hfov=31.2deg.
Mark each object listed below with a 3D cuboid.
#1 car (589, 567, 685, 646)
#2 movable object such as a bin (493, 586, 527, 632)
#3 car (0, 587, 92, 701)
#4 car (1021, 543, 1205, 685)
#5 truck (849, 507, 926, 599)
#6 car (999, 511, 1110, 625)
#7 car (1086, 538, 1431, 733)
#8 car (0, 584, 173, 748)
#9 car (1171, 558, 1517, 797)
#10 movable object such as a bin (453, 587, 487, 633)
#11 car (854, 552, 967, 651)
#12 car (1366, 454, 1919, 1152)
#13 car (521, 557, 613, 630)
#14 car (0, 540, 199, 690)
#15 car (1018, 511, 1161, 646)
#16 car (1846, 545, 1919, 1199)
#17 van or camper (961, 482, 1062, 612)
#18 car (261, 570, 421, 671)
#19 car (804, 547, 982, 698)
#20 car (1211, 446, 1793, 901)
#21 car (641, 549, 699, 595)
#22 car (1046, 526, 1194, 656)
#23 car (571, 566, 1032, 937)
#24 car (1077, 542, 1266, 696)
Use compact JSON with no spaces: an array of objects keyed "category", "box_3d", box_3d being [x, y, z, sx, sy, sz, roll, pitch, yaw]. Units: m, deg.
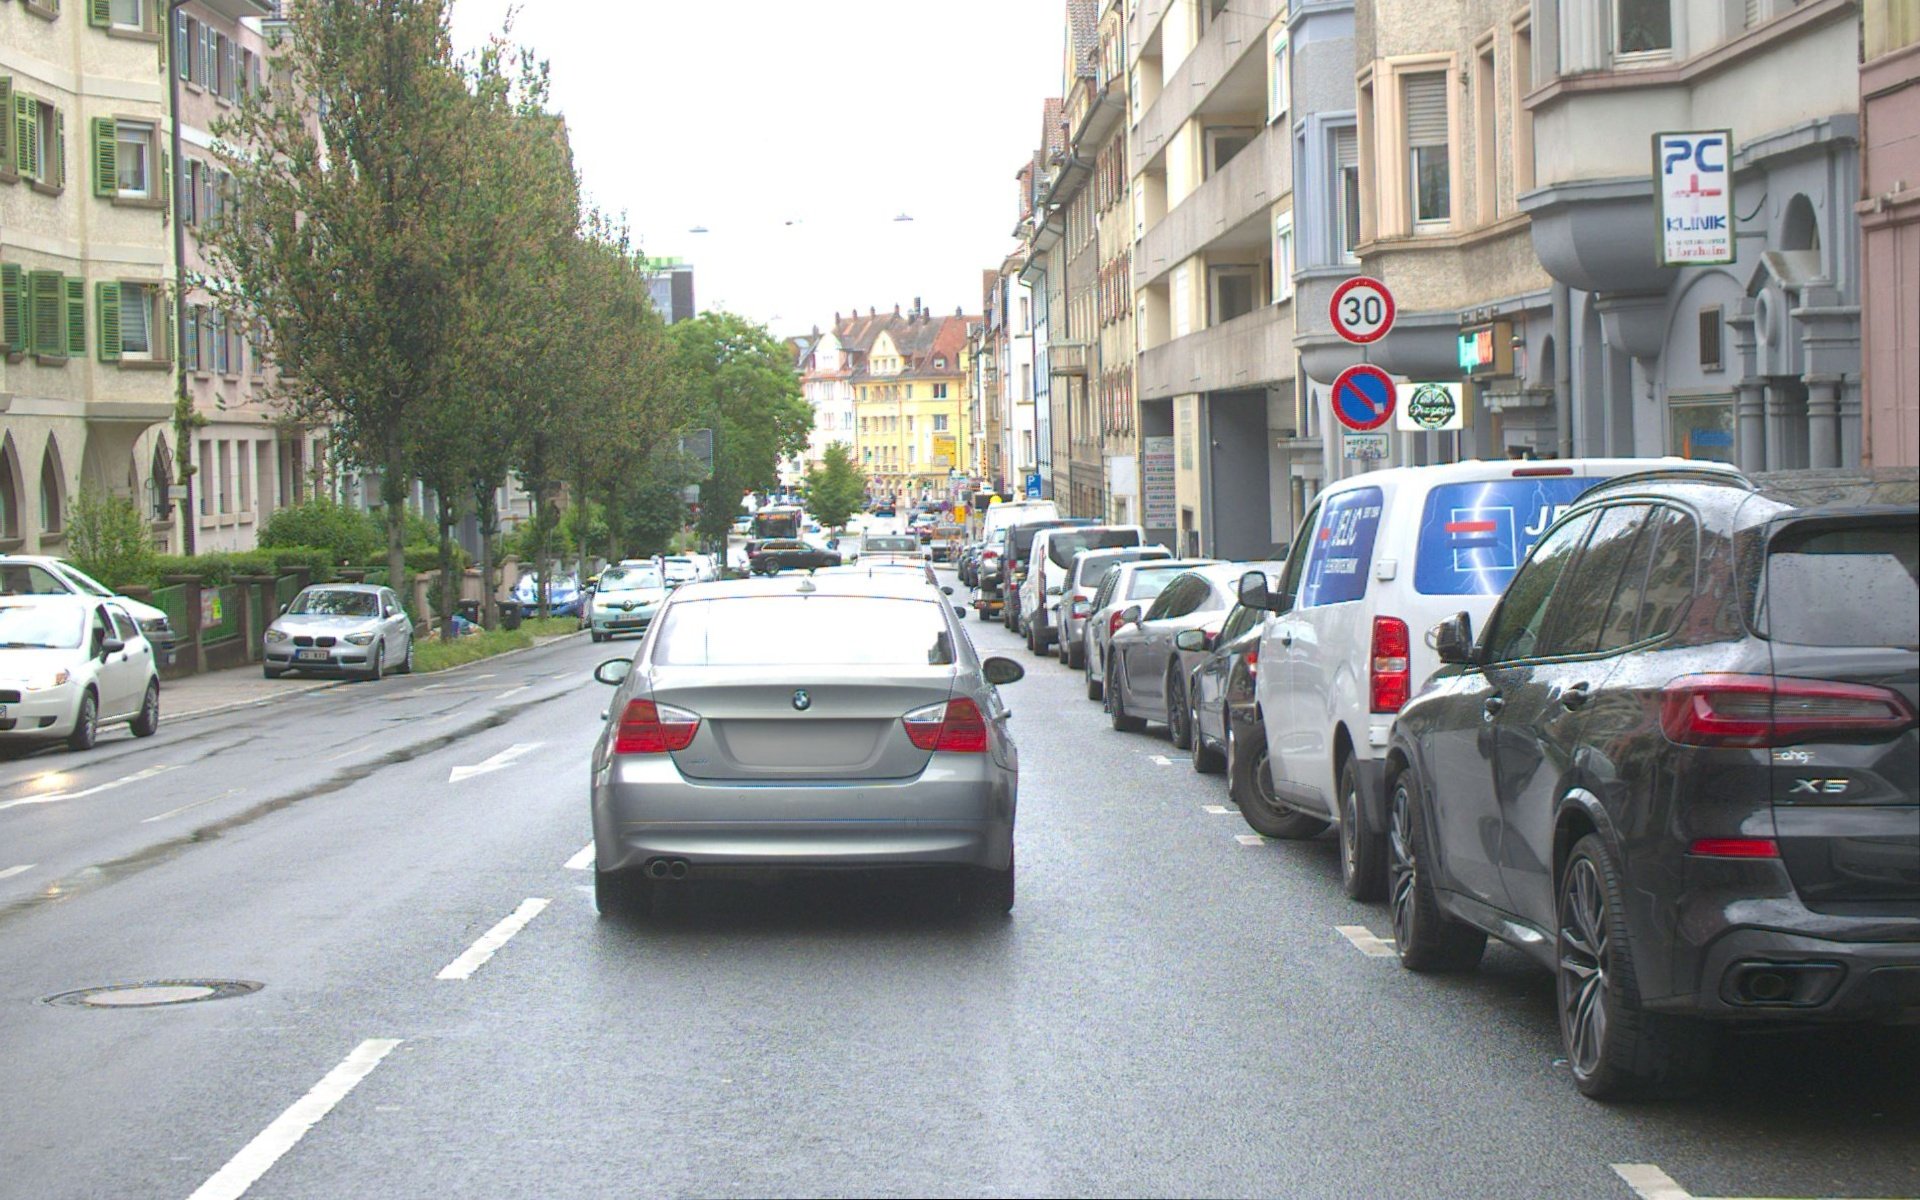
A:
[{"category":"car","box_3d":[-6.796,0.125,72.667,1.636,1.503,3.755,-4,1,-1]},{"category":"movable object such as a bin","box_3d":[-9.120,0.183,69.628,0.574,0.909,0.640,-2,1,-15]},{"category":"car","box_3d":[-13.938,0.631,45.513,4.431,1.447,1.792,-2,1,-3]},{"category":"car","box_3d":[1.761,0.120,41.095,1.900,1.473,4.799,-4,1,0]},{"category":"truck","box_3d":[-1.974,-1.242,92.832,2.032,2.404,4.827,0,0,-2]},{"category":"car","box_3d":[1.881,-0.657,69.885,1.982,2.158,4.750,-2,1,-1]},{"category":"car","box_3d":[2.334,0.242,28.196,1.875,1.462,4.776,0,1,-7]},{"category":"car","box_3d":[-8.969,0.610,33.533,1.621,1.441,4.005,-2,1,0]},{"category":"car","box_3d":[2.361,0.422,22.074,1.677,1.370,4.276,0,1,-1]},{"category":"movable object such as a bin","box_3d":[-9.886,0.201,69.369,0.574,0.909,0.640,-2,1,-15]},{"category":"car","box_3d":[-0.797,0.014,53.550,1.697,1.478,3.794,0,0,-2]},{"category":"car","box_3d":[2.538,0.475,10.850,1.879,1.725,4.677,0,1,-1]},{"category":"car","box_3d":[-9.320,-0.174,81.714,1.766,1.588,4.000,-3,1,-2]},{"category":"car","box_3d":[-13.288,0.233,47.975,4.829,1.967,2.048,-2,1,-1]},{"category":"car","box_3d":[2.035,-0.356,55.245,1.982,2.000,4.625,-2,1,-1]},{"category":"car","box_3d":[2.969,0.693,5.507,1.799,1.559,4.493,0,1,-2]},{"category":"van or camper","box_3d":[1.254,-1.247,80.340,2.033,2.859,6.884,2,1,3]},{"category":"car","box_3d":[-9.530,0.291,53.143,1.726,1.479,3.989,1,0,0]},{"category":"car","box_3d":[-0.623,0.197,34.481,1.682,1.423,3.741,0,0,0]},{"category":"car","box_3d":[2.447,0.271,16.850,1.919,1.821,5.009,-2,1,-1]},{"category":"car","box_3d":[-10.430,-1.032,123.935,1.691,1.518,3.736,-3,1,0]},{"category":"car","box_3d":[2.208,-0.151,48.500,1.726,1.664,4.289,-3,1,-1]},{"category":"car","box_3d":[-0.662,0.570,15.109,1.769,1.423,3.741,0,0,-2]},{"category":"car","box_3d":[2.098,0.156,34.934,1.611,1.469,4.016,0,1,-1]}]
